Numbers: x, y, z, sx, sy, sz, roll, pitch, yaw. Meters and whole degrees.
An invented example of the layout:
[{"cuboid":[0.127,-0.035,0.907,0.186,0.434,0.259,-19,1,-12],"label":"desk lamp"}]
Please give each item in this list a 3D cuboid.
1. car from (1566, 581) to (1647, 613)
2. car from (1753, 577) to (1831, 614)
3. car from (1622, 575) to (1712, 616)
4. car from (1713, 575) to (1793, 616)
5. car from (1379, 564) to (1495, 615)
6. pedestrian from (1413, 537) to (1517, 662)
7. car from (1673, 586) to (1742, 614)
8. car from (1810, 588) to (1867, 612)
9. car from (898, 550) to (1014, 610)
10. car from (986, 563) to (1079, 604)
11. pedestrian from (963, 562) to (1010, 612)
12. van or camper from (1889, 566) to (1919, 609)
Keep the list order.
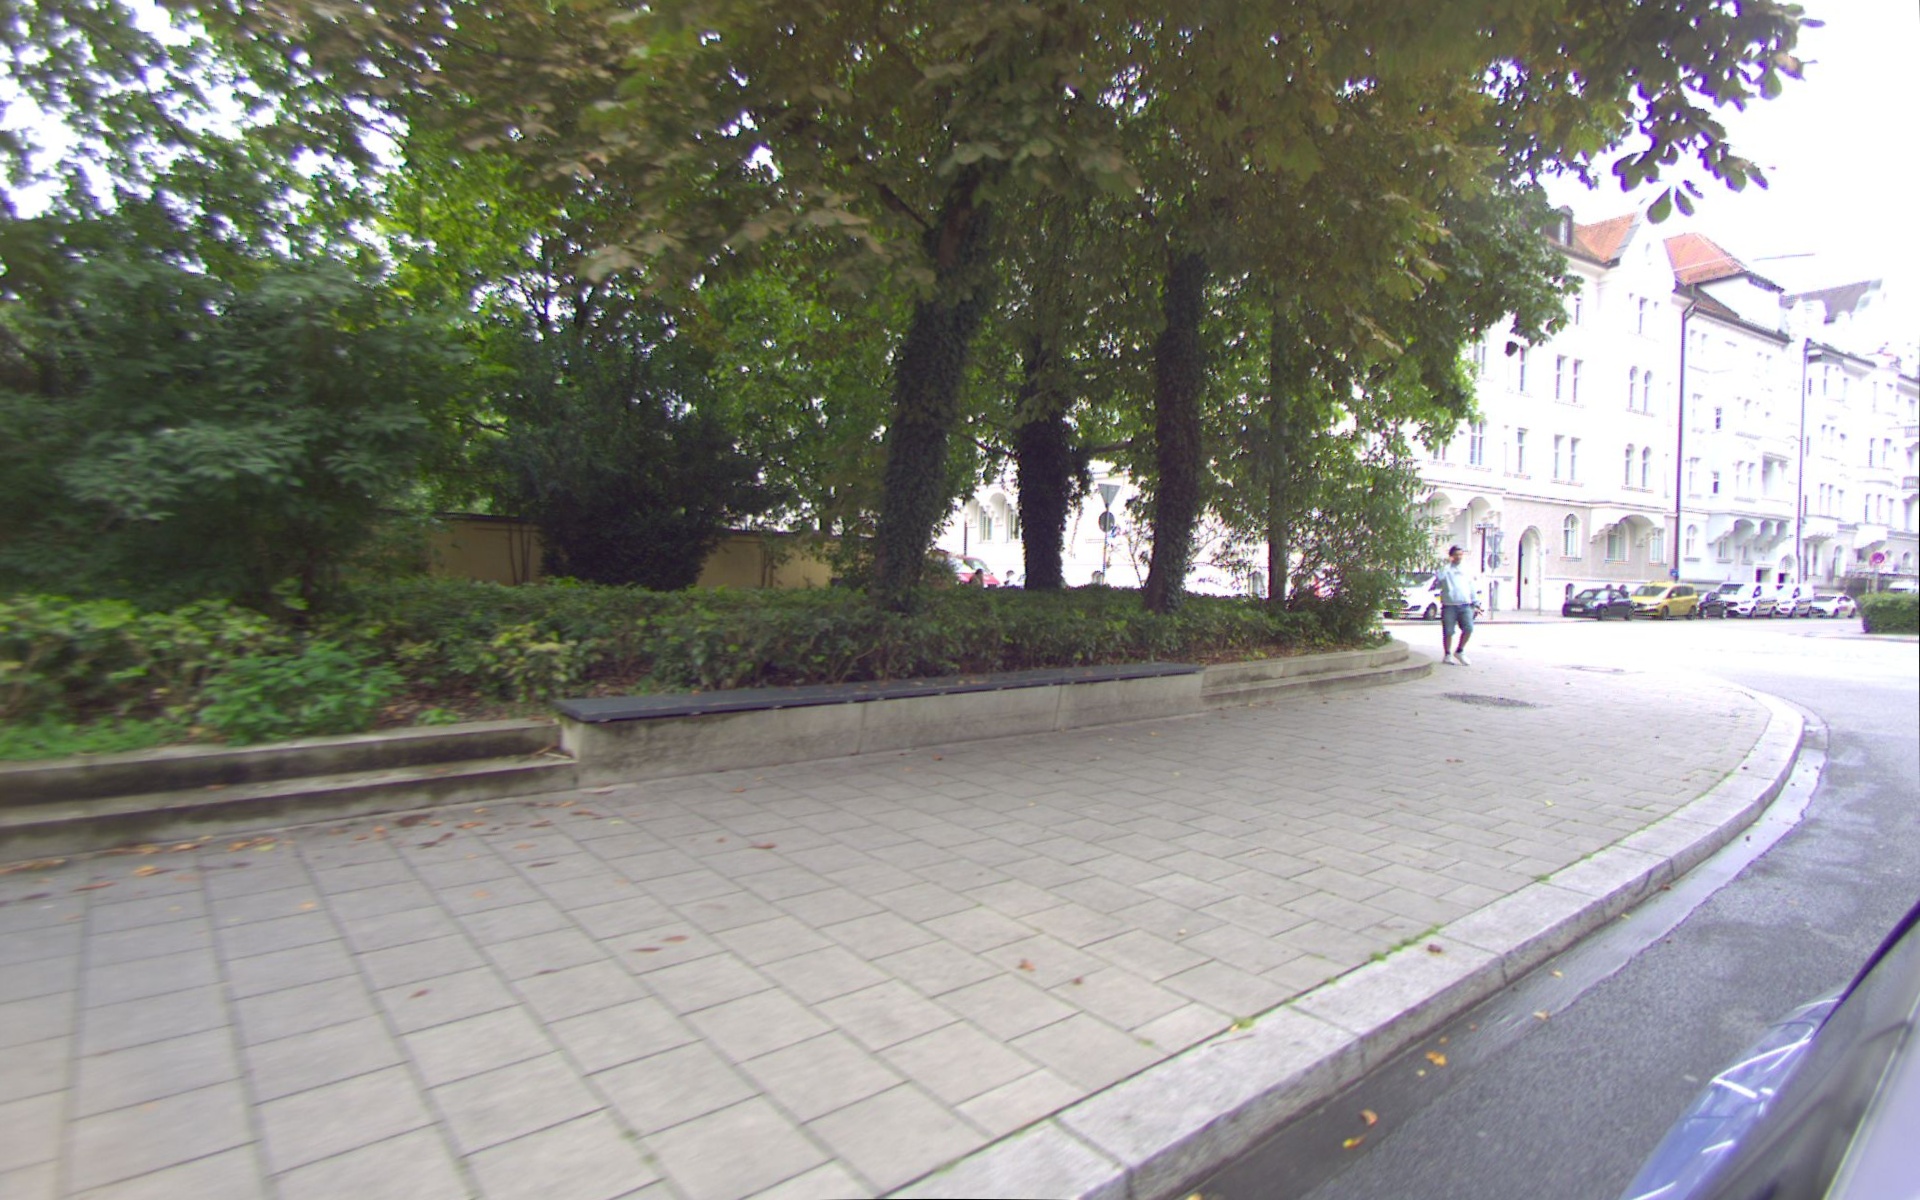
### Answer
[{"cuboid":[29.688,-0.154,46.453,3.607,1.363,1.699,1,1,-32],"label":"car"},{"cuboid":[48.268,-0.252,58.679,4.728,2.019,2.126,1,1,-33],"label":"car"},{"cuboid":[34.302,-0.213,49.100,4.053,1.861,2.030,1,1,-30],"label":"car"},{"cuboid":[43.329,-0.242,55.271,4.731,2.118,2.125,1,1,-35],"label":"car"},{"cuboid":[18.997,-0.406,40.246,4.816,1.904,1.926,0,2,-33],"label":"car"},{"cuboid":[7.589,-0.021,15.235,0.859,1.793,1.053,1,1,-29],"label":"pedestrian"},{"cuboid":[38.386,0.007,51.954,3.469,1.363,1.699,1,1,-33],"label":"car"},{"cuboid":[53.237,-0.025,61.315,3.469,1.363,1.699,1,1,-33],"label":"car"},{"cuboid":[-0.231,-0.755,35.515,1.843,1.944,4.893,-1,2,-31],"label":"car"},{"cuboid":[3.079,-0.753,43.938,1.717,1.622,4.501,2,1,-31],"label":"car"},{"cuboid":[0.725,-0.365,27.911,0.992,1.355,0.878,1,1,-27],"label":"pedestrian"},{"cuboid":[68.790,-0.907,72.117,6.310,2.949,2.002,0,2,-31],"label":"van or camper"}]
